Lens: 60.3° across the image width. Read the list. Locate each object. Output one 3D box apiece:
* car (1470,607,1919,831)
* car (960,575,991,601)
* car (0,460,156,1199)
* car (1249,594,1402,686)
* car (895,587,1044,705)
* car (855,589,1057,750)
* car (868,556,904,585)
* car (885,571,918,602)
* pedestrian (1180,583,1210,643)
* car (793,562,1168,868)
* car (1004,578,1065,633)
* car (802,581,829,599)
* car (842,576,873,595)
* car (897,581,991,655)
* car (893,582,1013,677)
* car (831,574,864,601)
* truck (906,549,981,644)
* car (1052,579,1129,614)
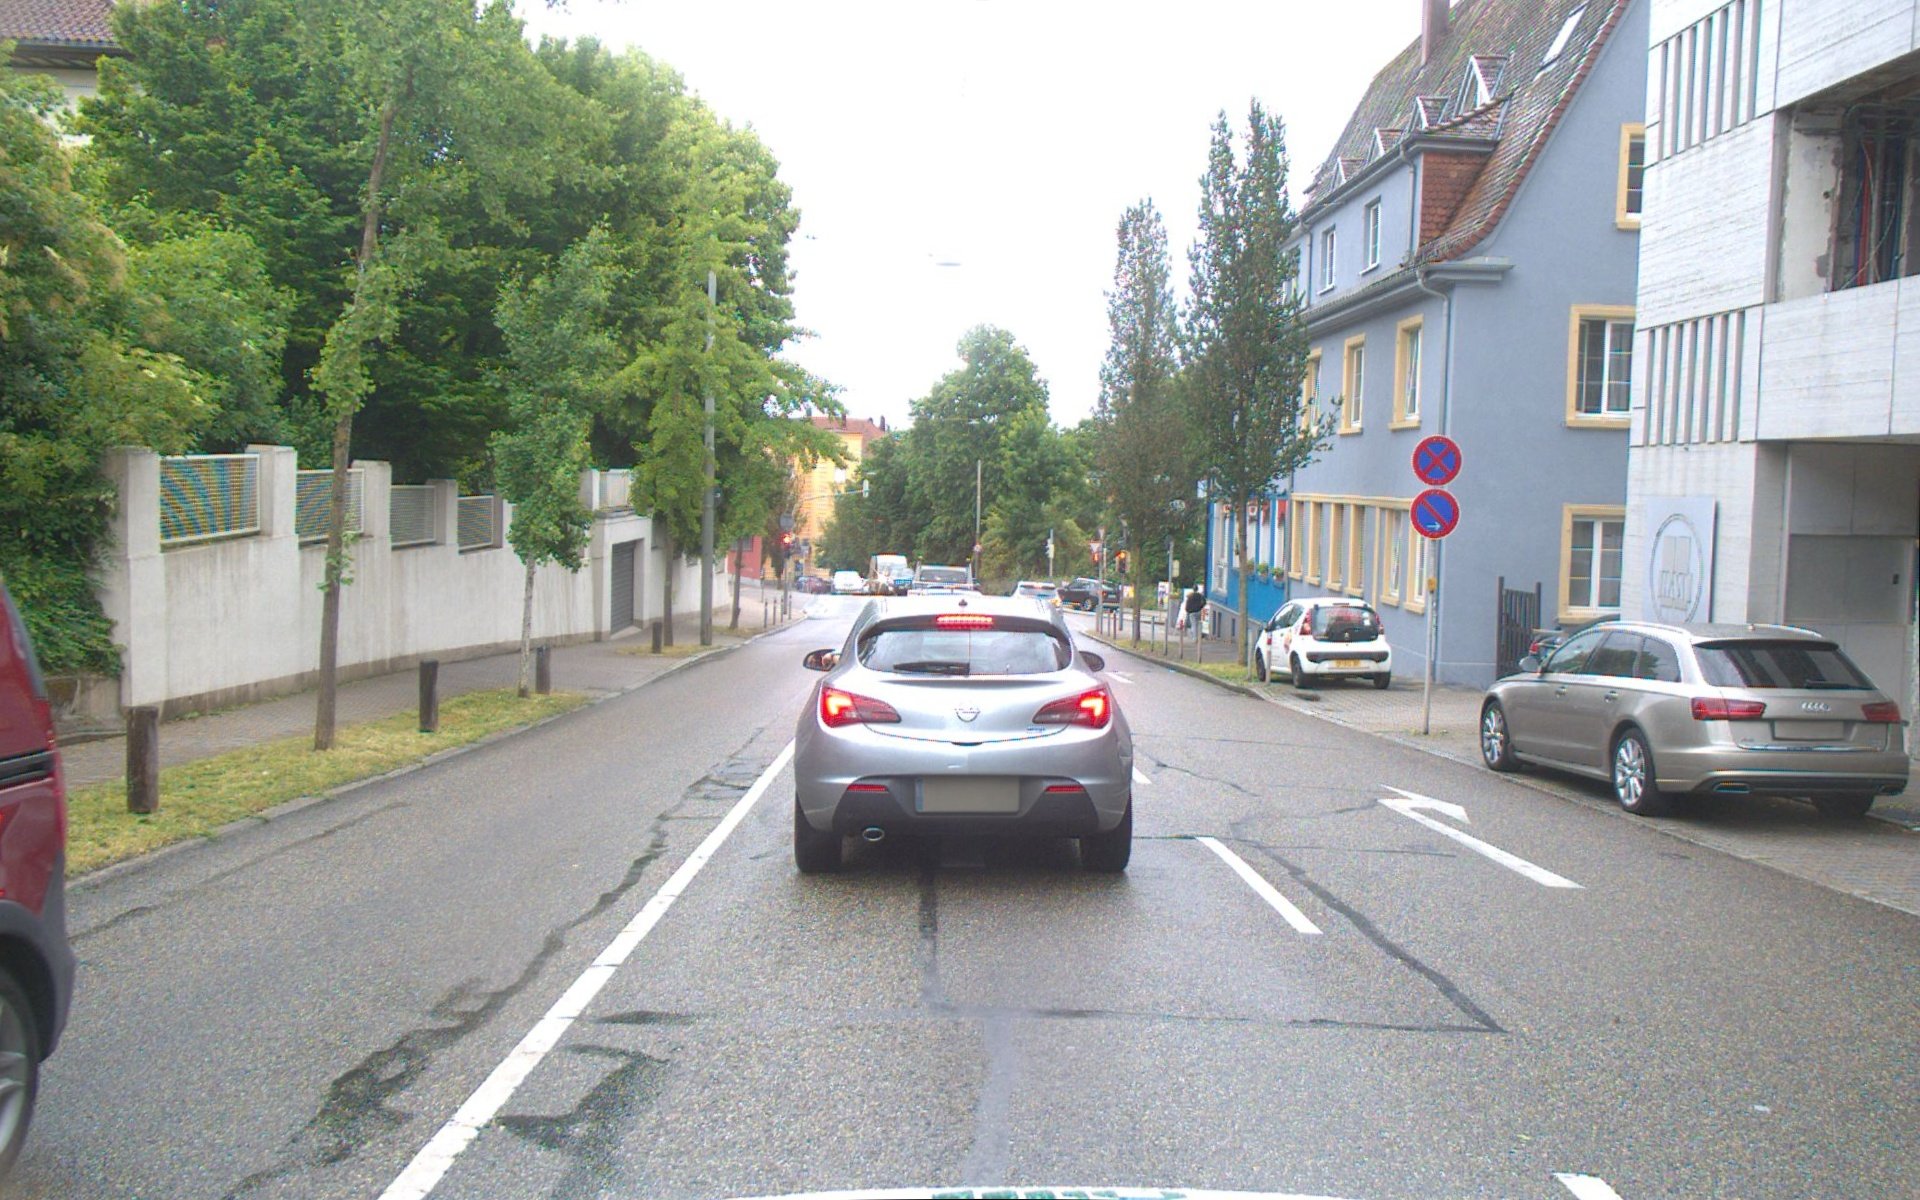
[{"bbox_3d":[6.046,0.852,13.920,1.923,1.473,4.524,1,1,-3],"label":"car"},{"bbox_3d":[0.991,-0.792,108.939,1.689,1.666,3.876,0,0,-4],"label":"car"},{"bbox_3d":[-3.189,0.595,2.603,1.711,1.860,4.458,-1,0,-1],"label":"car"},{"bbox_3d":[6.281,0.644,28.804,1.688,1.473,3.878,0,0,-2],"label":"car"},{"bbox_3d":[0.057,0.594,24.071,1.922,1.473,4.304,2,1,-2],"label":"car"},{"bbox_3d":[-0.108,0.667,18.347,1.922,1.473,4.304,2,1,-2],"label":"car"},{"bbox_3d":[-4.495,-1.764,100.199,1.691,1.666,3.871,0,0,-9],"label":"car"},{"bbox_3d":[-3.263,-0.759,92.581,1.833,1.666,3.878,0,0,-2],"label":"car"},{"bbox_3d":[7.148,0.388,50.293,0.767,1.759,0.650,2,0,-1],"label":"pedestrian"},{"bbox_3d":[0.020,0.549,9.994,1.800,1.459,3.878,1,0,-3],"label":"car"},{"bbox_3d":[2.443,0.157,55.179,1.688,1.744,3.878,0,0,-3],"label":"car"},{"bbox_3d":[-13.786,-0.973,157.923,1.696,1.666,3.859,0,0,-18],"label":"car"},{"bbox_3d":[-8.625,-1.187,139.235,1.696,1.570,3.859,0,0,-18],"label":"car"},{"bbox_3d":[-0.403,0.356,37.106,1.922,1.473,4.304,2,1,-2],"label":"car"},{"bbox_3d":[-0.186,0.468,29.448,1.922,1.473,4.304,2,1,-2],"label":"car"},{"bbox_3d":[-6.294,-0.708,92.515,1.688,1.485,3.878,0,0,-2],"label":"car"},{"bbox_3d":[-0.522,-0.127,47.103,1.922,2.471,4.934,2,1,-2],"label":"truck"},{"bbox_3d":[6.470,-0.189,82.094,1.710,1.666,3.827,0,0,-38],"label":"car"}]
